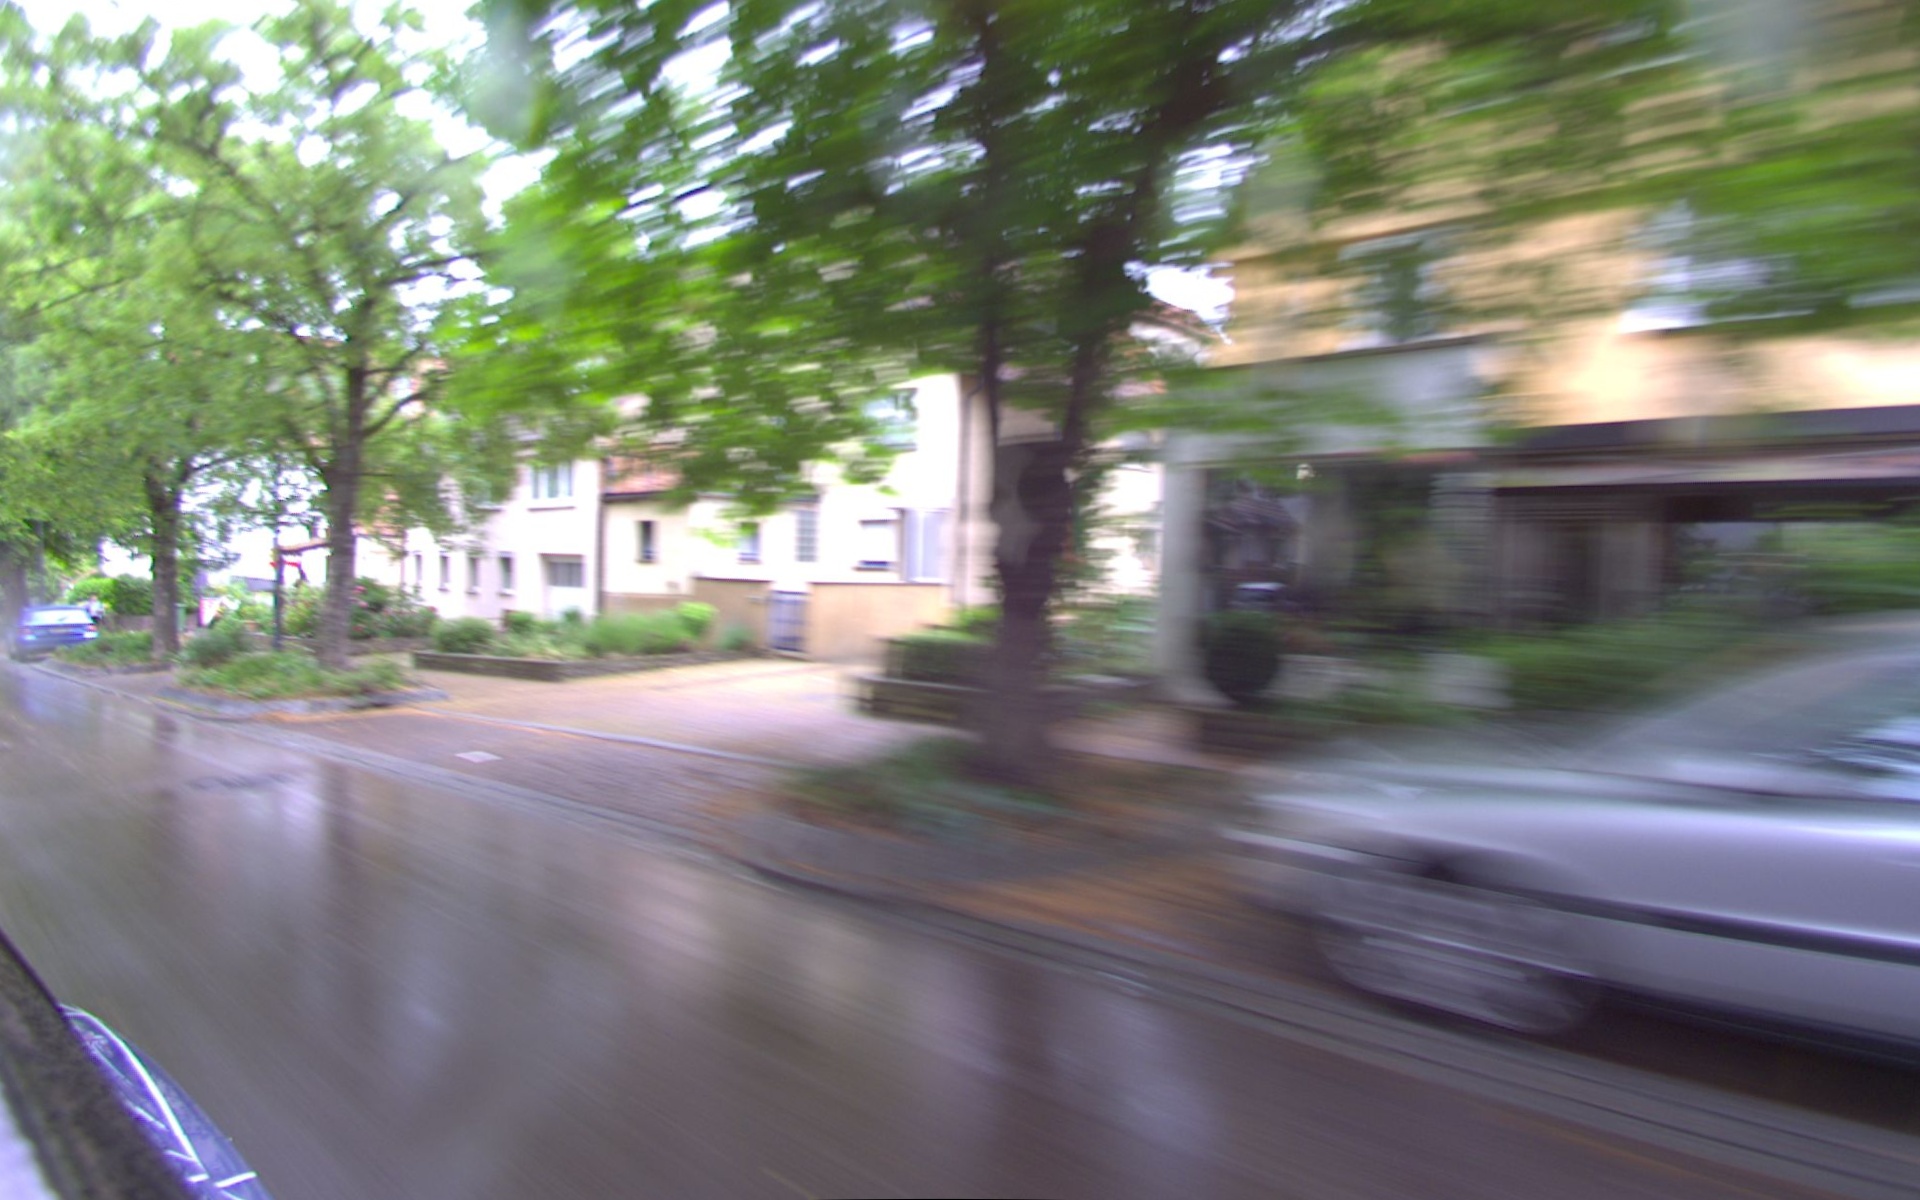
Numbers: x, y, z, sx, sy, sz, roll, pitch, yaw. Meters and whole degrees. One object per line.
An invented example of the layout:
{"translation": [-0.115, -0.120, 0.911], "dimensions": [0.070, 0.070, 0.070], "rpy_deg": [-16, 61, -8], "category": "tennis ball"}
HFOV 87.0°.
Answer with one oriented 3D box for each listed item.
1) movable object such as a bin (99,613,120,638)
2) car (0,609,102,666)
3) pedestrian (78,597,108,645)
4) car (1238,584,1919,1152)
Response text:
{"translation": [-39.503, 1.175, 47.022], "dimensions": [0.659, 1.141, 0.655], "rpy_deg": [-1, 0, 43], "category": "movable object such as a bin"}
{"translation": [-24.515, 0.949, 27.195], "dimensions": [3.795, 1.406, 1.731], "rpy_deg": [0, 0, 42], "category": "car"}
{"translation": [-29.593, 0.722, 34.545], "dimensions": [0.931, 1.606, 0.643], "rpy_deg": [-1, 0, 41], "category": "pedestrian"}
{"translation": [3.321, 0.667, 2.925], "dimensions": [4.544, 1.399, 1.753], "rpy_deg": [-1, 1, 42], "category": "car"}
